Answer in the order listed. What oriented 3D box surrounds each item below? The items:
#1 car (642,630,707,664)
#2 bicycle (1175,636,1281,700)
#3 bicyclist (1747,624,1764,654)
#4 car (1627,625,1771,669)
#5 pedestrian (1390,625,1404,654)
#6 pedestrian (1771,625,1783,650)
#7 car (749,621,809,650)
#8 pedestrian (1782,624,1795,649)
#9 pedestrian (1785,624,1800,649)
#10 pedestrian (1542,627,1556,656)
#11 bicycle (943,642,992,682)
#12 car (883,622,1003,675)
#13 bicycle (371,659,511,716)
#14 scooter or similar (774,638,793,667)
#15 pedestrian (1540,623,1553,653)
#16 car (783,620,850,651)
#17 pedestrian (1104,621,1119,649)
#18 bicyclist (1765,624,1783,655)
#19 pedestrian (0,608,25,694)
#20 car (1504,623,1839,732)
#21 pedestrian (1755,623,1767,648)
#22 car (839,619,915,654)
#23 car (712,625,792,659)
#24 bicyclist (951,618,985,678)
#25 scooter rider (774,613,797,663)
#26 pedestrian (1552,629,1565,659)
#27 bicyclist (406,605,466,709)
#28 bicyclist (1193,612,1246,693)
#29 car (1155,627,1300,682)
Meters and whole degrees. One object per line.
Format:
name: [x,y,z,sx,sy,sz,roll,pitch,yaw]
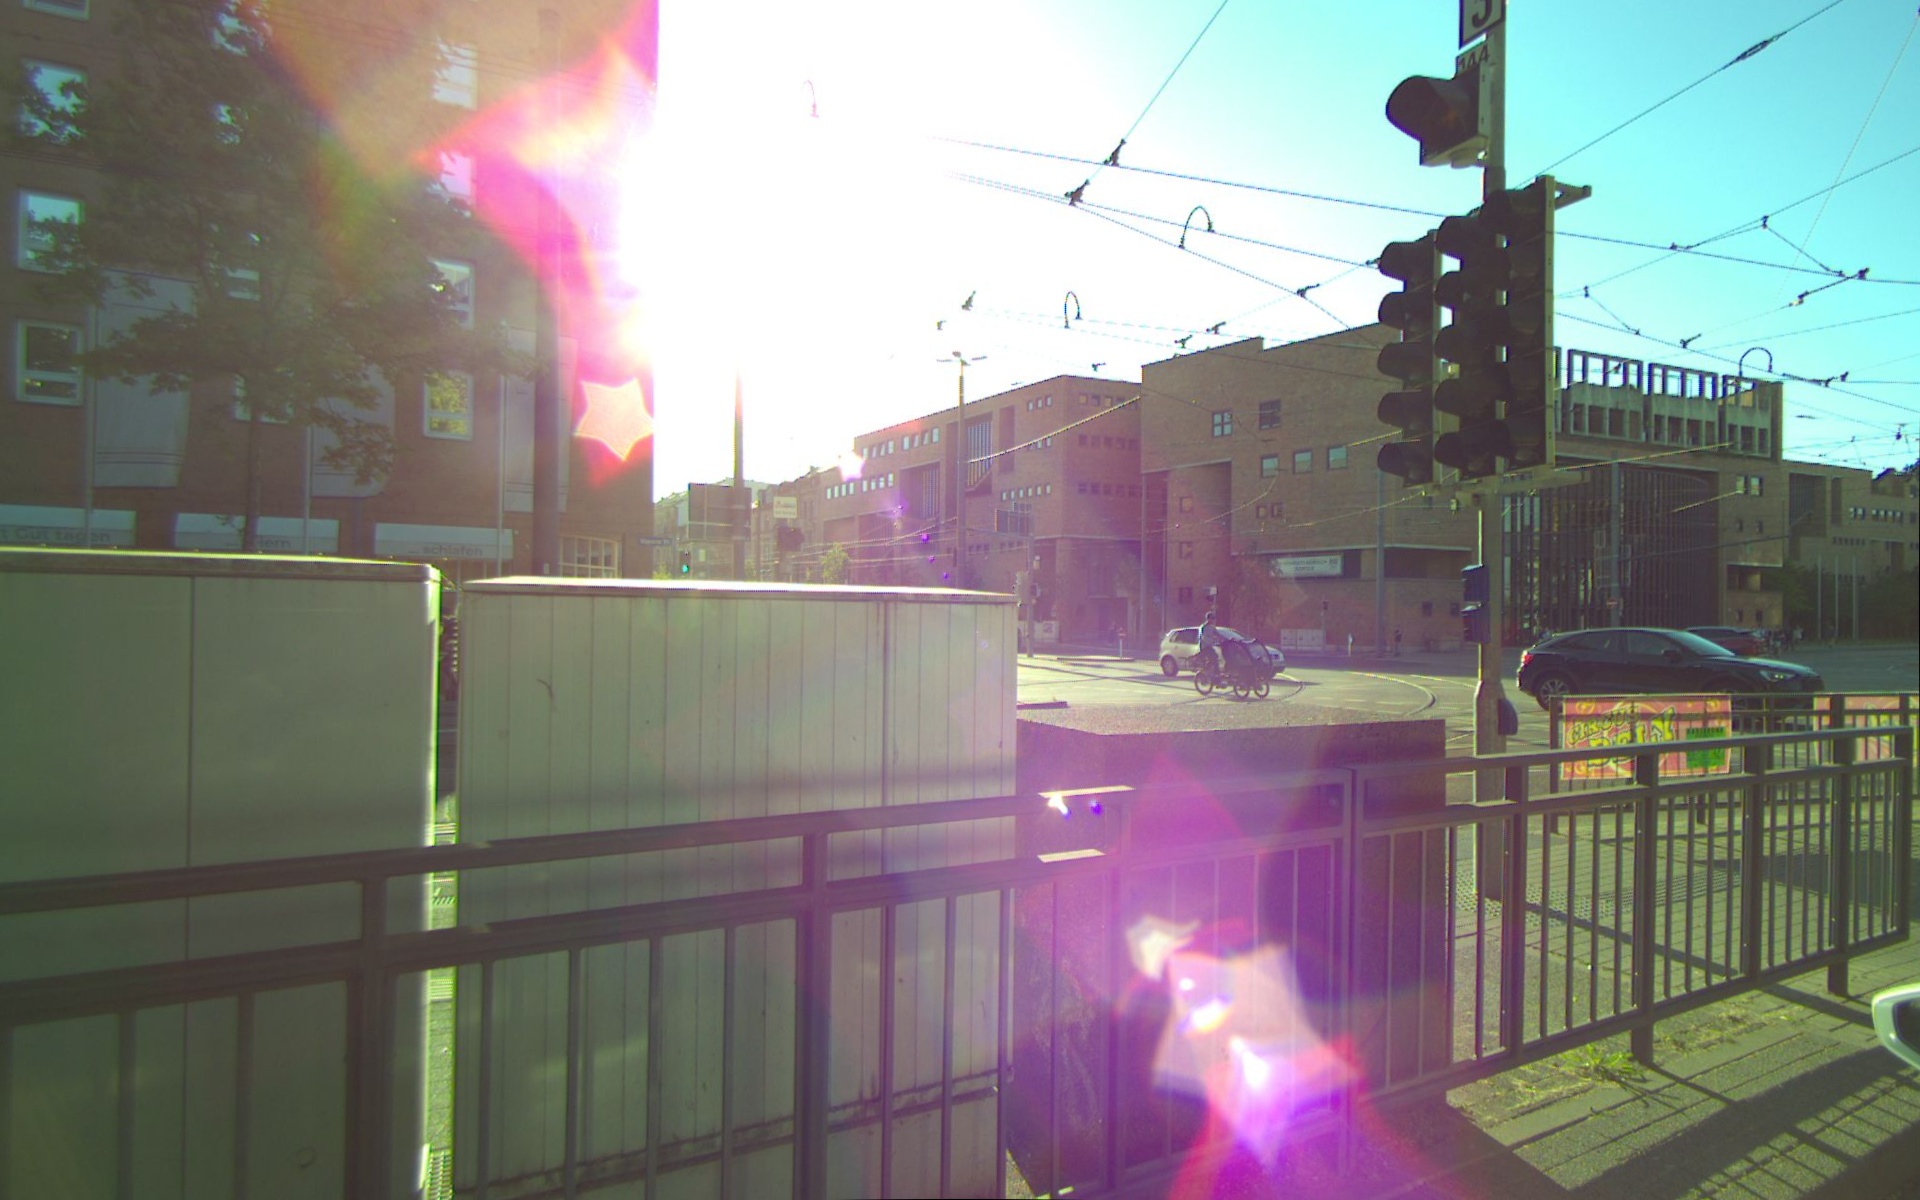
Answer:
car: [-12.726,2.060,44.659,1.625,1.416,3.269,1,-2,-39]
bicycle: [5.737,1.423,21.647,1.058,1.243,2.150,0,0,-26]
bicyclist: [44.772,2.200,56.526,0.782,1.697,0.589,1,-1,-36]
car: [28.516,1.773,38.870,1.781,1.623,4.206,1,-2,-40]
pedestrian: [24.698,2.229,56.814,0.560,1.635,0.545,0,-1,1]
pedestrian: [60.080,2.739,73.906,0.538,1.834,0.489,1,-1,-23]
car: [-11.192,2.155,61.880,1.981,1.719,4.315,1,-2,-36]
pedestrian: [59.544,2.648,72.183,0.538,1.803,0.521,1,-1,-23]
pedestrian: [60.473,2.651,72.984,0.538,1.834,0.640,1,-1,-23]
pedestrian: [33.991,2.370,57.964,0.530,1.672,0.622,-1,-2,41]
bicycle: [0.190,1.794,29.274,0.621,1.078,1.916,1,-1,-27]
car: [-0.708,1.699,36.356,1.981,1.750,4.802,1,-1,-35]
bicycle: [-9.324,1.560,18.138,2.151,0.946,0.665,1,-1,-20]
scooter or similar: [-6.918,2.037,39.368,0.397,1.119,1.202,1,-1,-26]
pedestrian: [33.453,2.179,57.320,0.530,1.672,0.622,0,-1,41]
car: [-8.138,1.987,56.780,1.981,1.719,4.315,1,-2,-36]
pedestrian: [8.935,2.055,59.248,0.608,1.635,0.539,-1,2,-35]
bicyclist: [45.355,2.217,55.990,0.782,1.697,0.589,1,-1,-36]
pedestrian: [-18.356,0.964,19.100,0.717,1.606,0.586,1,1,-31]
car: [12.207,1.236,17.557,1.805,1.604,4.457,1,-1,-32]
pedestrian: [58.719,2.629,73.673,0.538,1.834,0.489,1,-1,-23]
car: [-4.349,1.878,52.212,1.981,1.719,4.315,1,-2,-36]
car: [-10.268,2.025,49.386,1.985,1.538,4.344,0,-1,-42]
bicyclist: [0.230,1.379,29.209,0.631,1.686,0.901,1,-1,-27]
scooter rider: [-6.827,1.479,39.330,0.727,1.921,0.661,1,-2,-27]
pedestrian: [33.610,2.482,56.426,0.530,1.672,0.622,-1,-2,41]
bicyclist: [-9.435,1.015,18.111,0.839,1.808,0.749,1,-1,-20]
bicyclist: [5.617,1.129,21.761,0.682,1.703,0.901,1,-1,-26]
car: [7.705,1.529,29.226,1.807,1.453,3.884,1,-1,-34]
